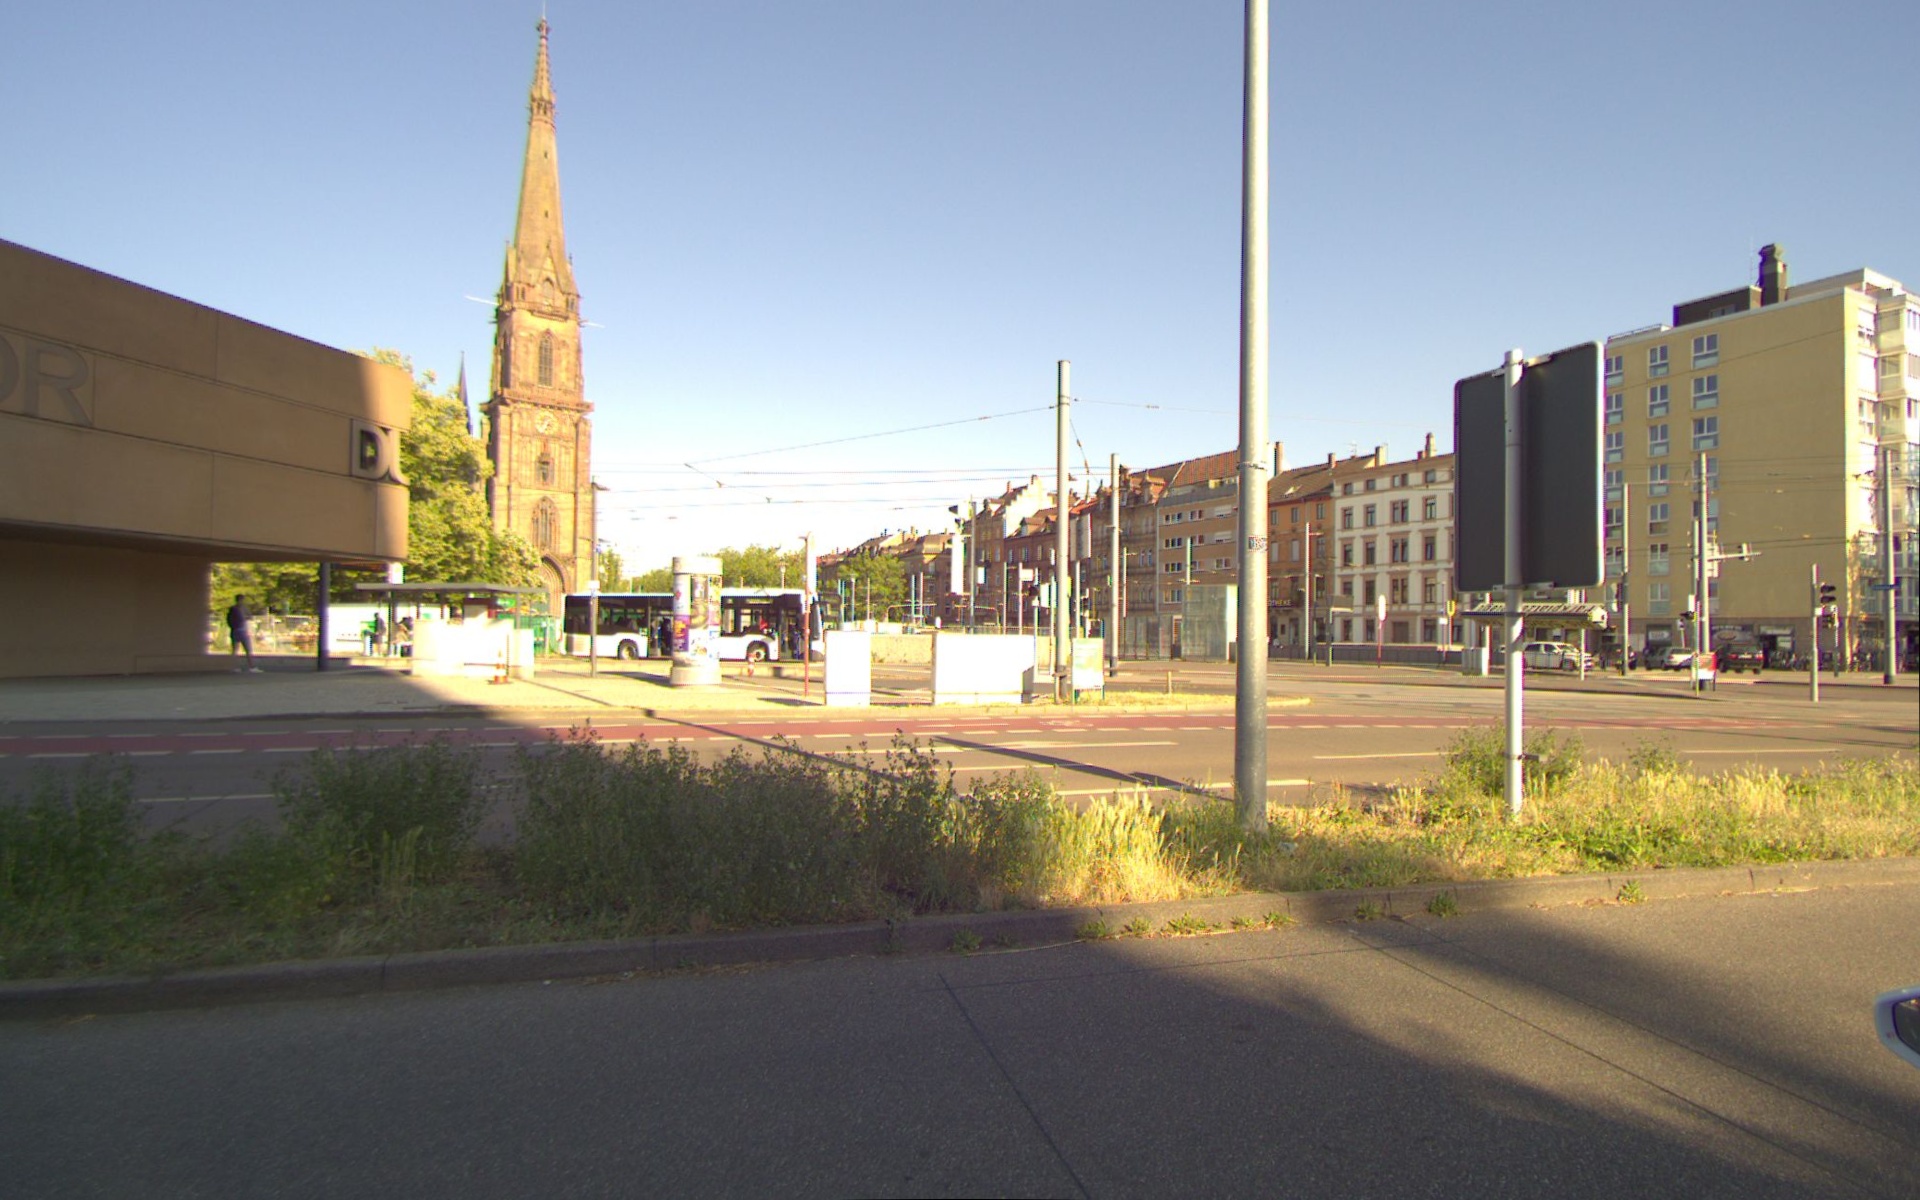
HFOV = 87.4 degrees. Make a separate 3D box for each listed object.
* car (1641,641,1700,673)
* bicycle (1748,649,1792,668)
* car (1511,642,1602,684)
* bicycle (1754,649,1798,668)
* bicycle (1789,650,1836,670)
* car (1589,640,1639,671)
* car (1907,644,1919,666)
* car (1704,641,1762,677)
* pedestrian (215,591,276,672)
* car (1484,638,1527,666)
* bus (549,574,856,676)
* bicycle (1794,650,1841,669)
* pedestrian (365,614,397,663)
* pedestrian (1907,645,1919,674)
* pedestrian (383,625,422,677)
[{"bbox_3d":[42.710,3.399,60.479,1.803,1.771,4.001,-1,-1,18],"label":"car"},{"bbox_3d":[50.651,3.668,62.840,0.768,1.104,2.033,2,-2,-29],"label":"bicycle"},{"bbox_3d":[31.855,3.307,53.700,1.976,2.040,3.718,0,-1,-29],"label":"car"},{"bbox_3d":[51.398,3.664,63.271,0.768,1.104,2.033,2,-2,-29],"label":"bicycle"},{"bbox_3d":[51.707,3.634,60.939,0.768,1.104,2.033,2,-2,-29],"label":"bicycle"},{"bbox_3d":[41.177,3.465,63.319,1.803,1.742,4.000,-1,-1,20],"label":"car"},{"bbox_3d":[64.268,3.618,65.061,1.793,1.441,3.965,2,-2,-32],"label":"car"},{"bbox_3d":[44.420,3.339,57.836,1.818,1.882,3.996,-1,-1,25],"label":"car"},{"bbox_3d":[-18.033,0.811,25.377,0.704,2.007,0.981,0,-2,15],"label":"pedestrian"},{"bbox_3d":[37.976,3.581,70.006,2.046,1.742,4.010,-1,-1,20],"label":"car"},{"bbox_3d":[-10.529,1.012,41.143,11.942,3.359,3.254,3,-4,16],"label":"bus"},{"bbox_3d":[52.409,3.631,61.403,0.768,1.104,2.033,2,-2,-29],"label":"bicycle"},{"bbox_3d":[-23.948,1.590,41.546,0.740,2.007,0.817,-1,-2,17],"label":"pedestrian"},{"bbox_3d":[56.081,3.468,58.790,0.773,1.698,0.773,2,-2,-27],"label":"pedestrian"},{"bbox_3d":[-21.987,2.020,39.630,0.812,2.007,0.997,-1,-2,17],"label":"pedestrian"}]
